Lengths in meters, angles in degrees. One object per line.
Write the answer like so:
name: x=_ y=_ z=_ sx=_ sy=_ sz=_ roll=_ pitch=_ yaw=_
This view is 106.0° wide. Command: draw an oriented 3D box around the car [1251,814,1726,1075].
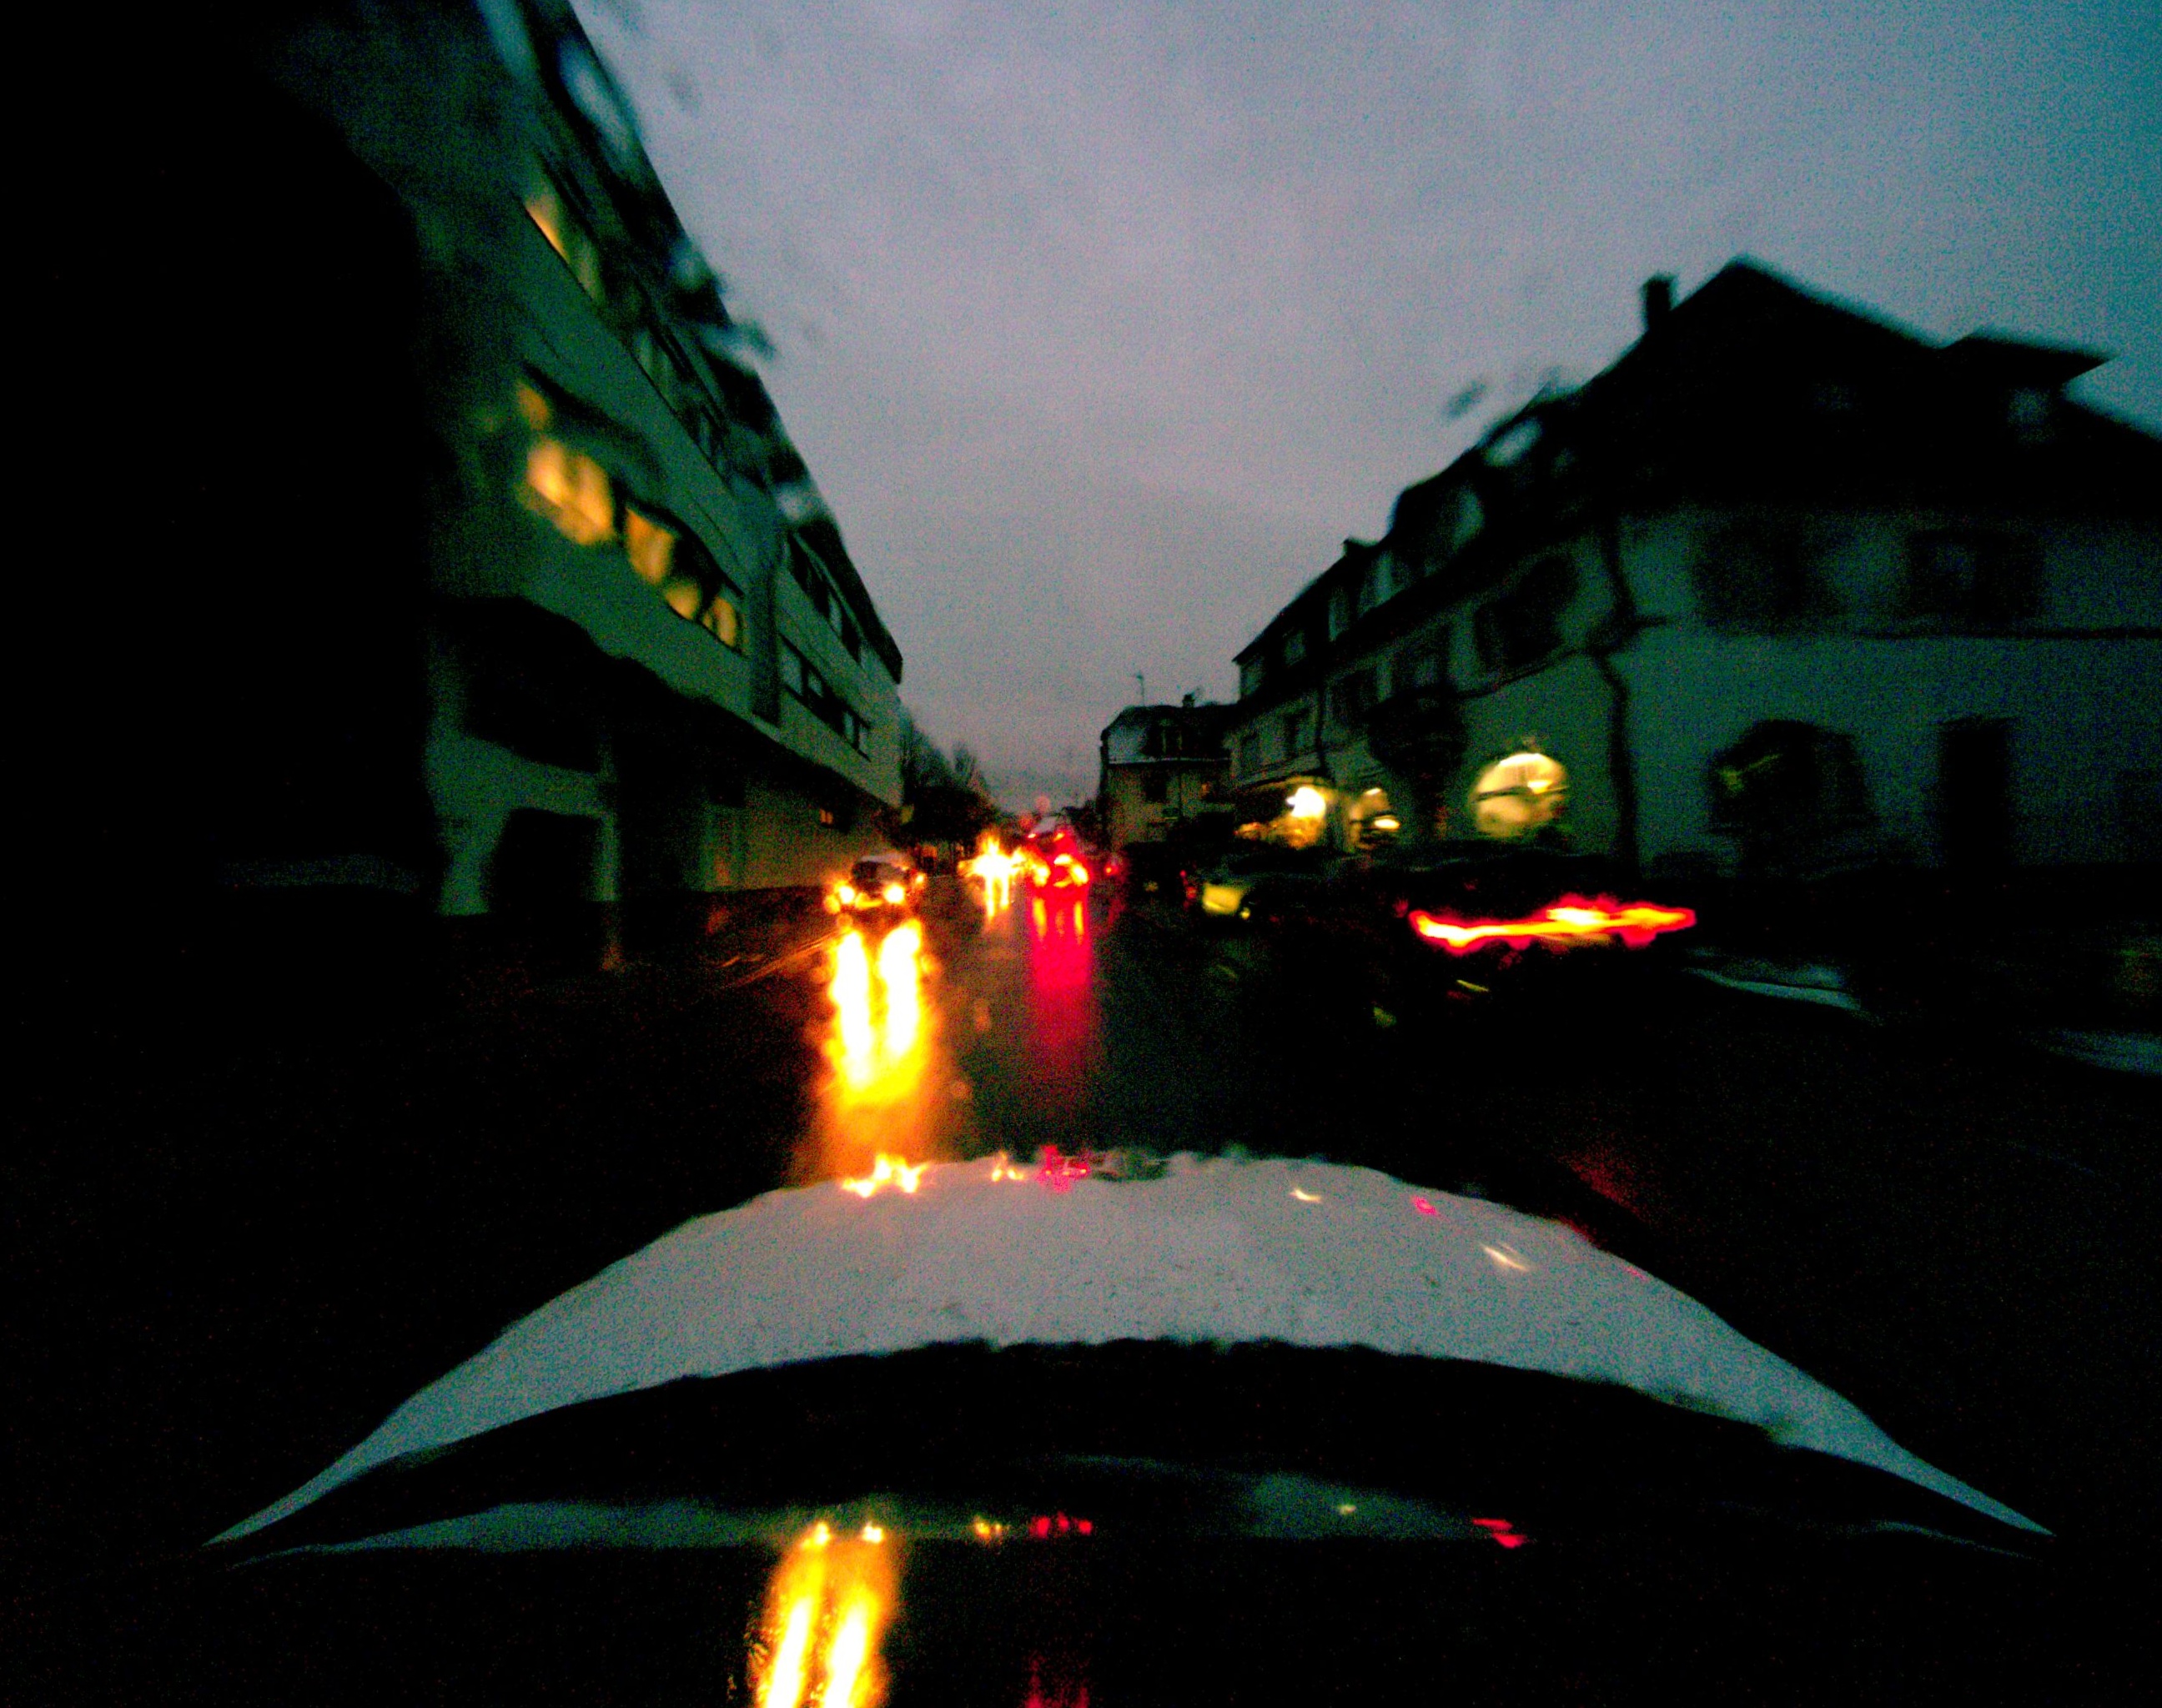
car: x=3.071 y=0.559 z=7.478 sx=1.877 sy=1.547 sz=4.668 roll=-3 pitch=0 yaw=-2

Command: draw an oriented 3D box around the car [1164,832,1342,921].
car: x=3.857 y=0.475 z=18.531 sx=3.504 sy=1.680 sz=1.710 roll=-4 pitch=0 yaw=-10

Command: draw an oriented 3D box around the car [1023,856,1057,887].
car: x=-2.092 y=0.854 z=41.290 sx=1.635 sy=1.481 sz=3.267 roll=-1 pitch=0 yaw=-4

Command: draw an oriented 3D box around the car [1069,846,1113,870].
car: x=0.958 y=0.417 z=77.473 sx=4.080 sy=2.163 sz=1.915 roll=-1 pitch=0 yaw=2

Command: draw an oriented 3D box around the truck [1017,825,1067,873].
truck: x=-2.894 y=-0.345 z=58.060 sx=3.012 sy=3.128 sz=7.982 roll=-1 pitch=0 yaw=-6

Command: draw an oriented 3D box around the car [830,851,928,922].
car: x=-5.084 y=0.749 z=20.973 sx=1.791 sy=1.642 sz=3.807 roll=-1 pitch=0 yaw=-4

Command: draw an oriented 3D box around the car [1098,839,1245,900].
car: x=3.020 y=0.497 z=27.689 sx=4.602 sy=1.775 sz=1.939 roll=-2 pitch=0 yaw=-9

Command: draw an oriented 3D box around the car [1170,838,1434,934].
car: x=4.127 y=0.564 z=15.616 sx=4.460 sy=1.473 sz=1.894 roll=-3 pitch=0 yaw=-6

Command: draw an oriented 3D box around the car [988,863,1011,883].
car: x=-6.590 y=1.538 z=65.769 sx=1.634 sy=1.535 sz=3.403 roll=-1 pitch=0 yaw=-3

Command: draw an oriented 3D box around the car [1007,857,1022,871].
car: x=-8.046 y=1.224 z=98.816 sx=1.807 sy=1.596 sz=4.392 roll=-1 pitch=0 yaw=-4

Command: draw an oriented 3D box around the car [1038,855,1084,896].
car: x=-0.819 y=0.783 z=31.270 sx=1.634 sy=1.481 sz=3.375 roll=-1 pitch=0 yaw=-3
